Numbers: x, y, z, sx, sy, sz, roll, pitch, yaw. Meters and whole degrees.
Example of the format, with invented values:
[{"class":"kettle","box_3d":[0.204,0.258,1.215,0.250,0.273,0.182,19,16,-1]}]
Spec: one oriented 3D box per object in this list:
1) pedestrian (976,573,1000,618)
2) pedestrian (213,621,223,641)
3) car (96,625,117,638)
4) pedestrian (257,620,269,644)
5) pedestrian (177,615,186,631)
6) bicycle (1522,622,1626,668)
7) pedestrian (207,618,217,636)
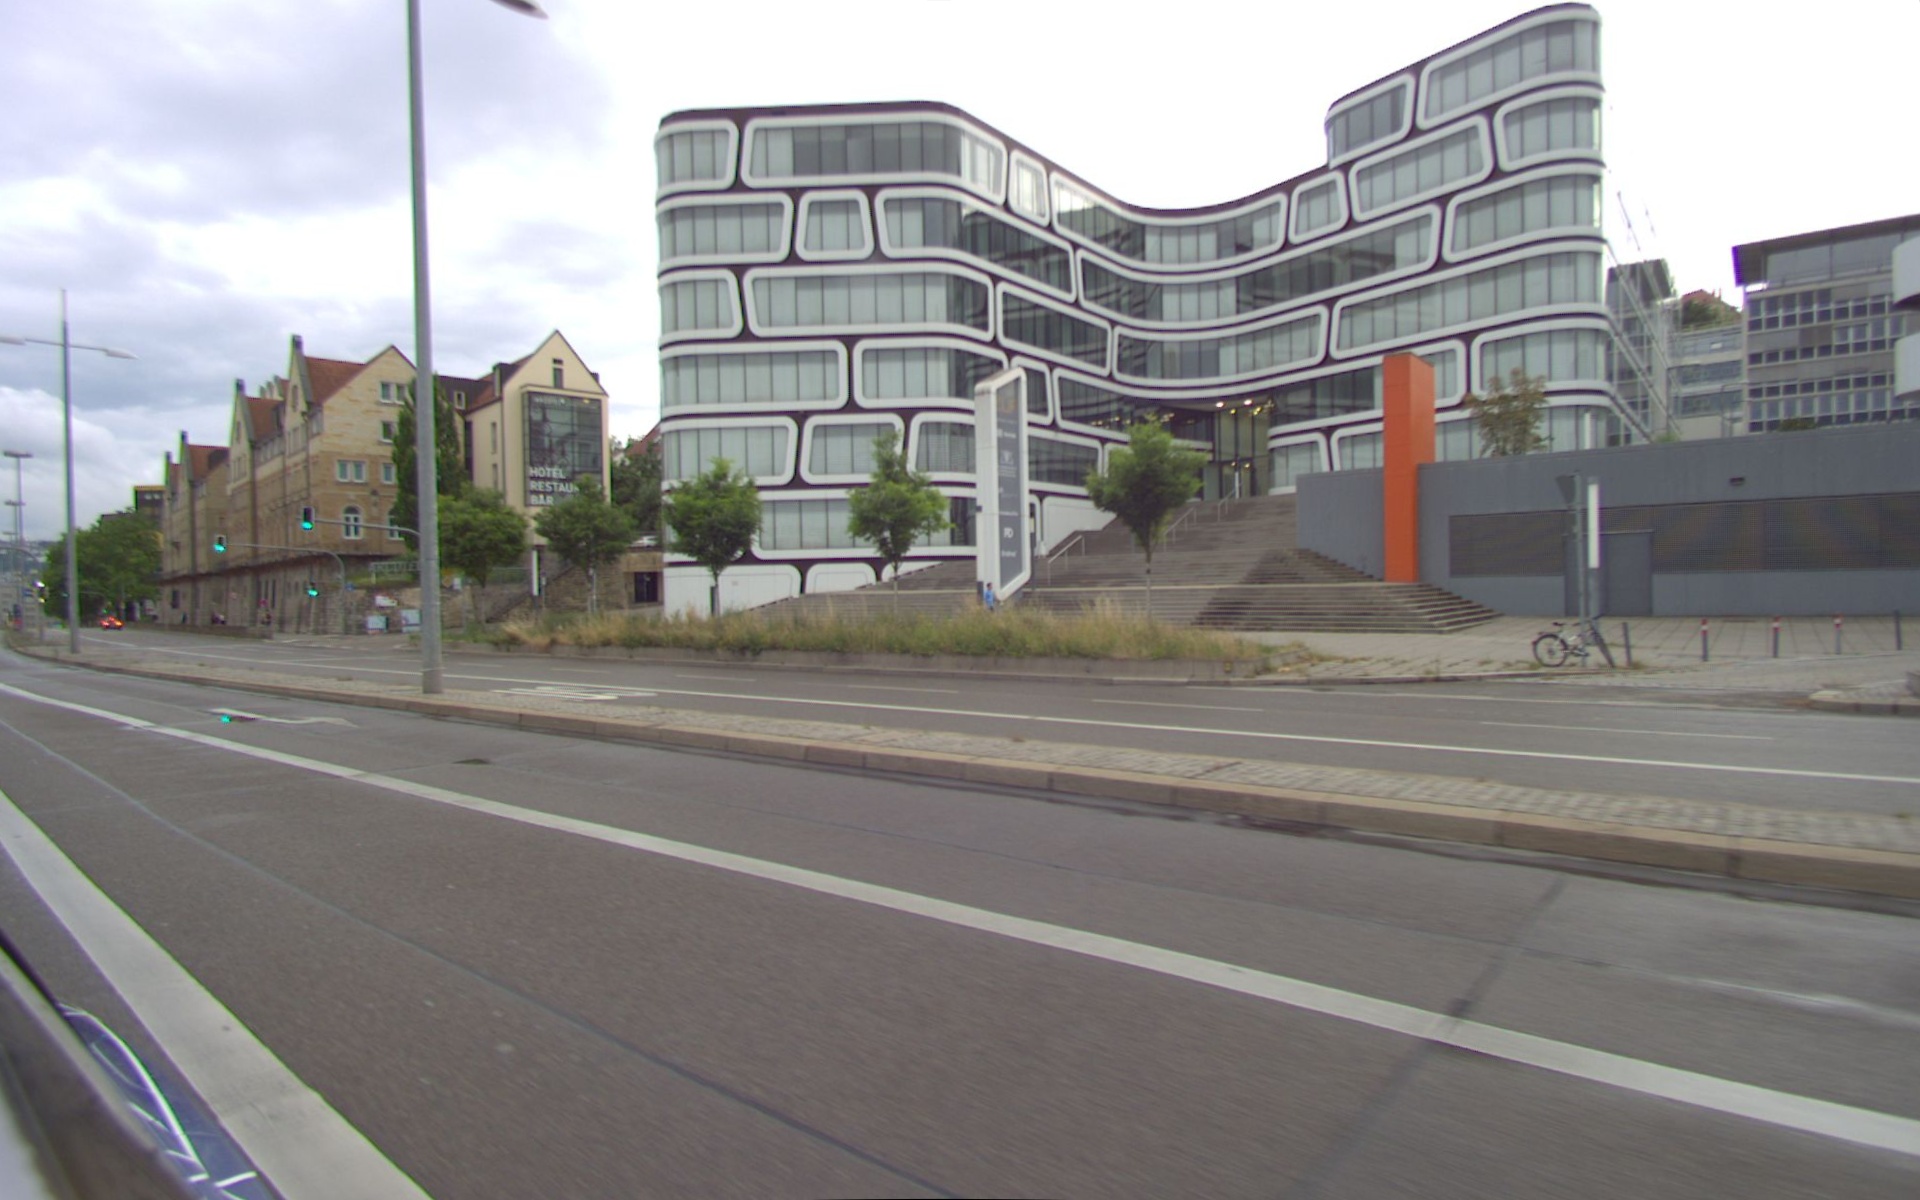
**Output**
[{"class":"pedestrian","box_3d":[1.013,-0.154,36.837,0.640,1.623,0.604,-1,0,43]},{"class":"pedestrian","box_3d":[-66.136,2.759,90.202,0.668,1.792,0.684,0,0,-44]},{"class":"car","box_3d":[-103.718,3.836,122.968,1.691,1.475,4.003,-2,0,-44]},{"class":"pedestrian","box_3d":[-53.625,2.475,77.875,0.668,1.792,0.684,0,0,-44]},{"class":"pedestrian","box_3d":[-85.447,2.528,111.094,0.668,1.792,0.684,0,0,-44]},{"class":"bicycle","box_3d":[12.075,0.878,19.939,1.637,0.864,0.608,0,0,7]},{"class":"pedestrian","box_3d":[-72.144,2.594,97.596,0.668,1.792,0.684,0,0,-44]}]
